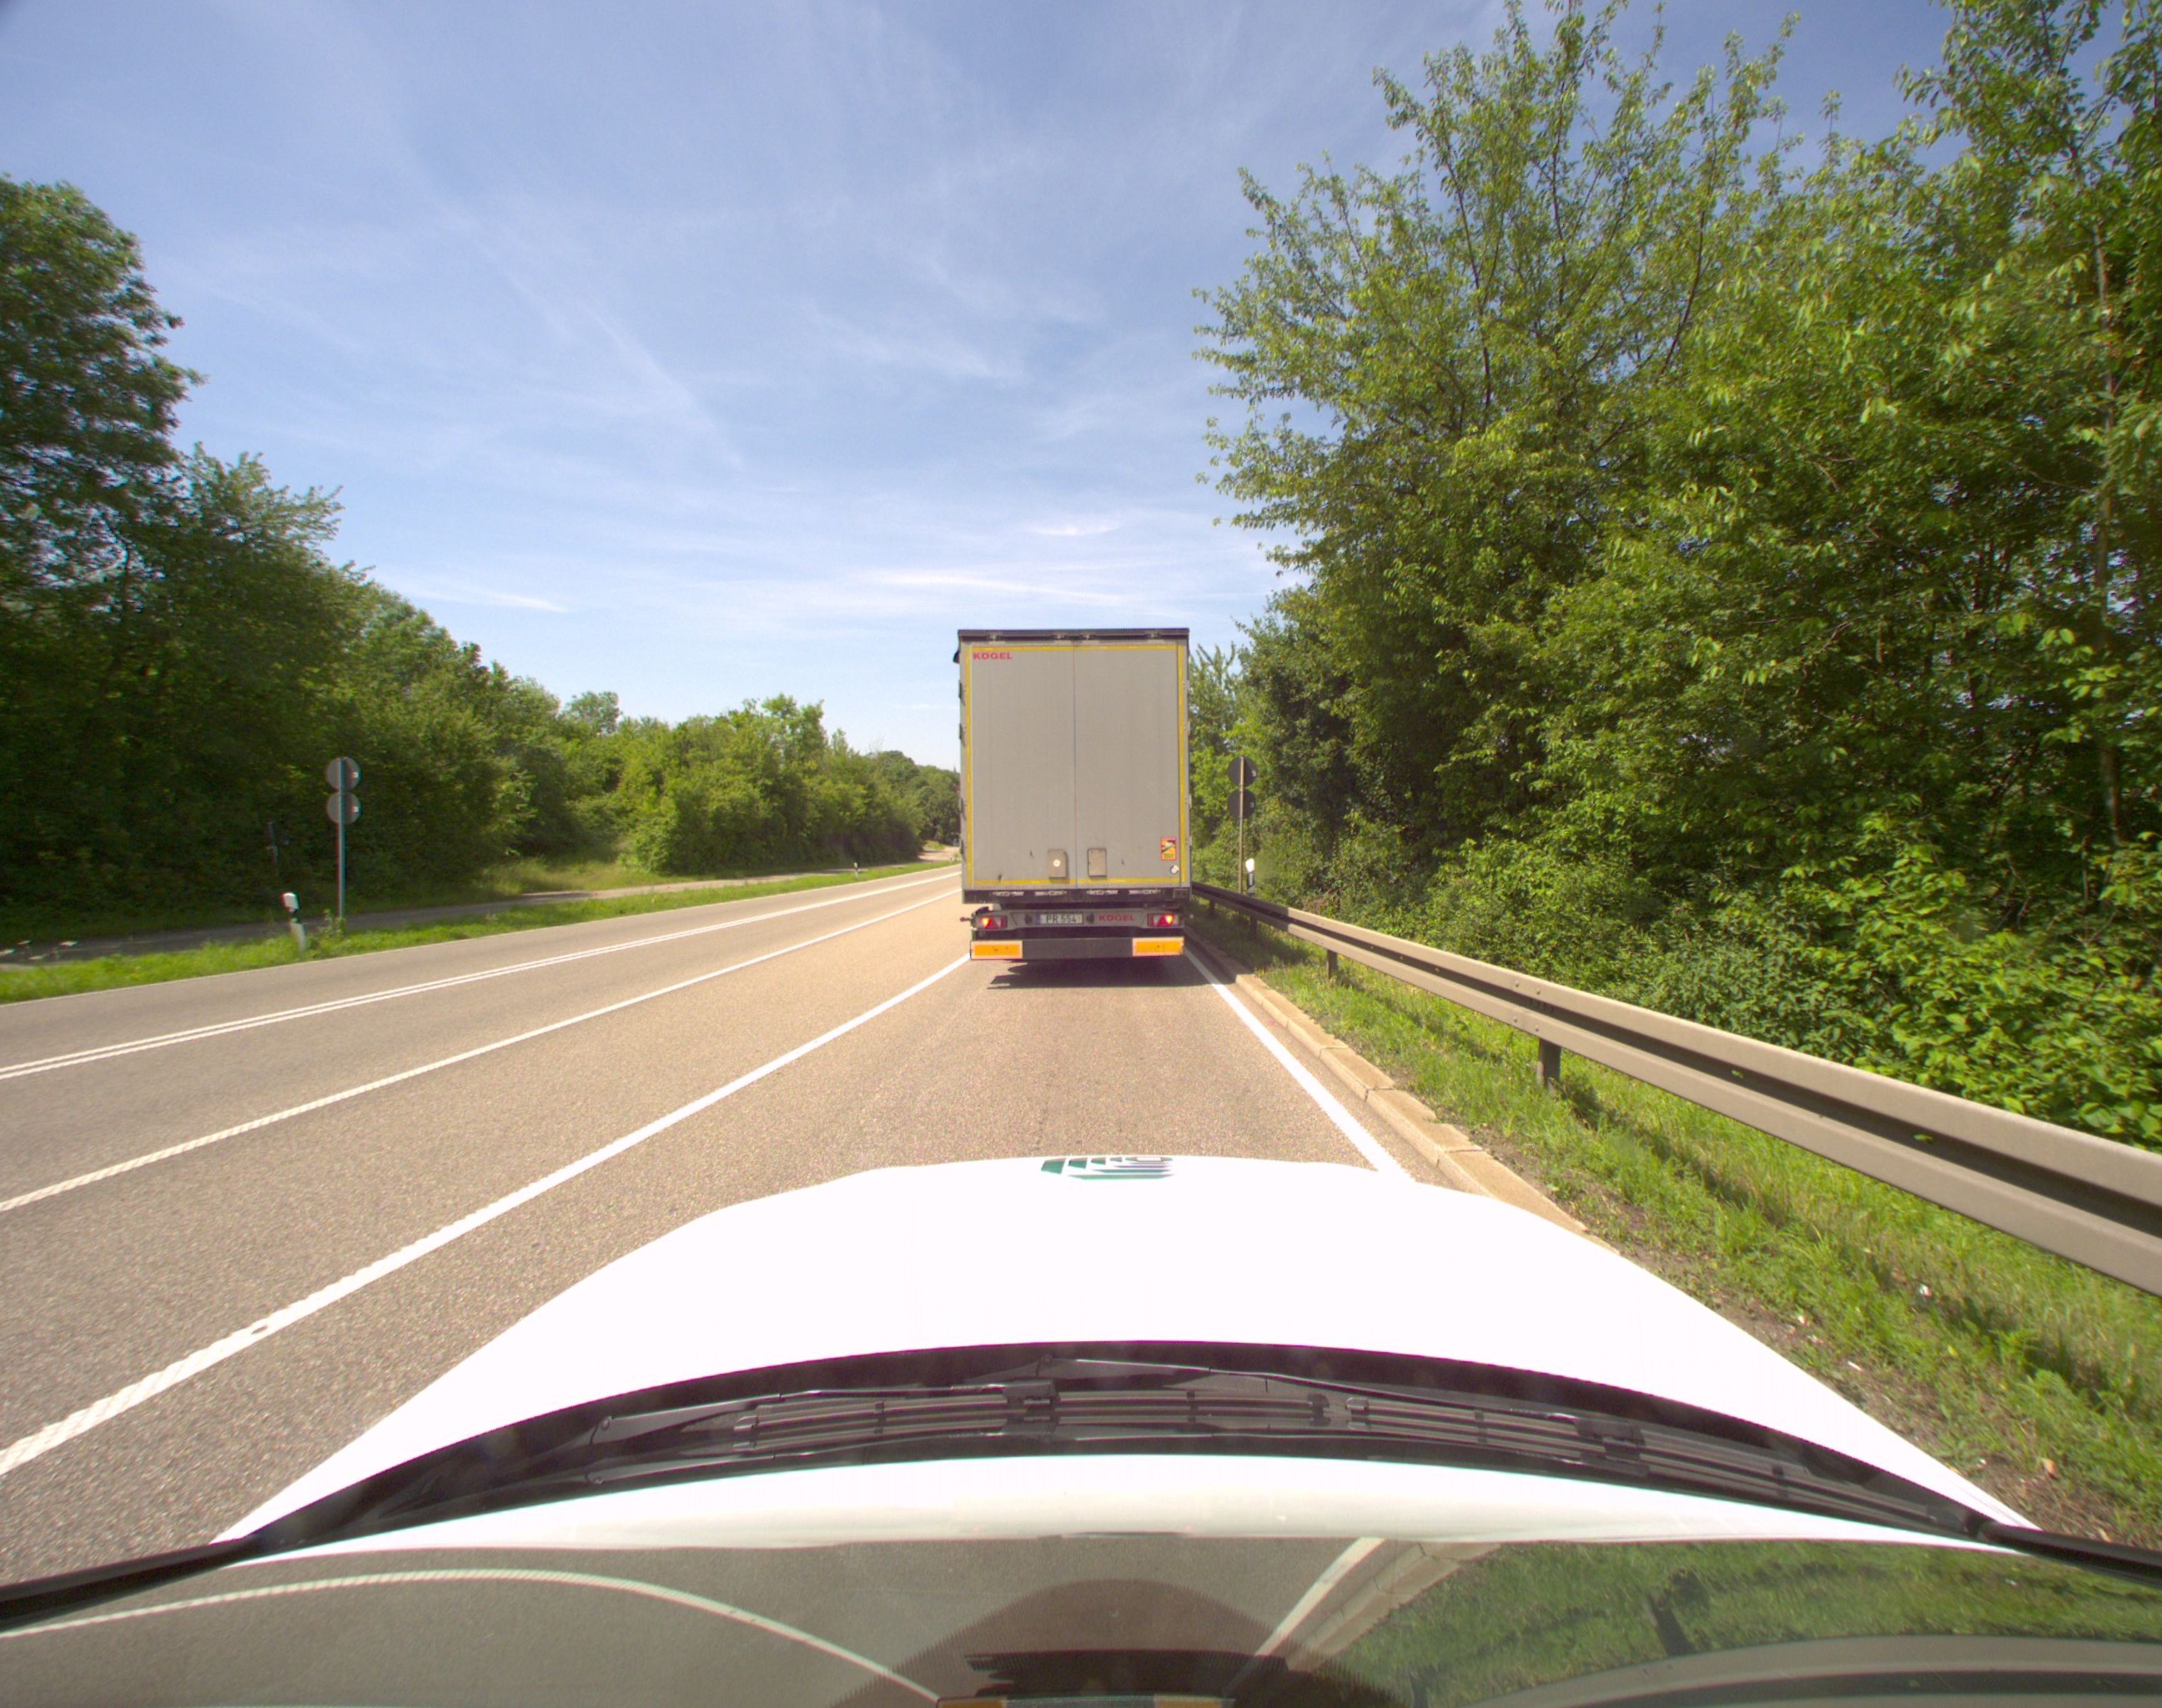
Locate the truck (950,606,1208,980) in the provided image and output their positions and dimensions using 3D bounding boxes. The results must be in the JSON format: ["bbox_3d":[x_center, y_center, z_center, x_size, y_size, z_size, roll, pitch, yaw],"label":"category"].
[{"bbox_3d":[0.089,-0.692,14.802,2.747,4.029,11.926,-1,0,1],"label":"truck"}]
